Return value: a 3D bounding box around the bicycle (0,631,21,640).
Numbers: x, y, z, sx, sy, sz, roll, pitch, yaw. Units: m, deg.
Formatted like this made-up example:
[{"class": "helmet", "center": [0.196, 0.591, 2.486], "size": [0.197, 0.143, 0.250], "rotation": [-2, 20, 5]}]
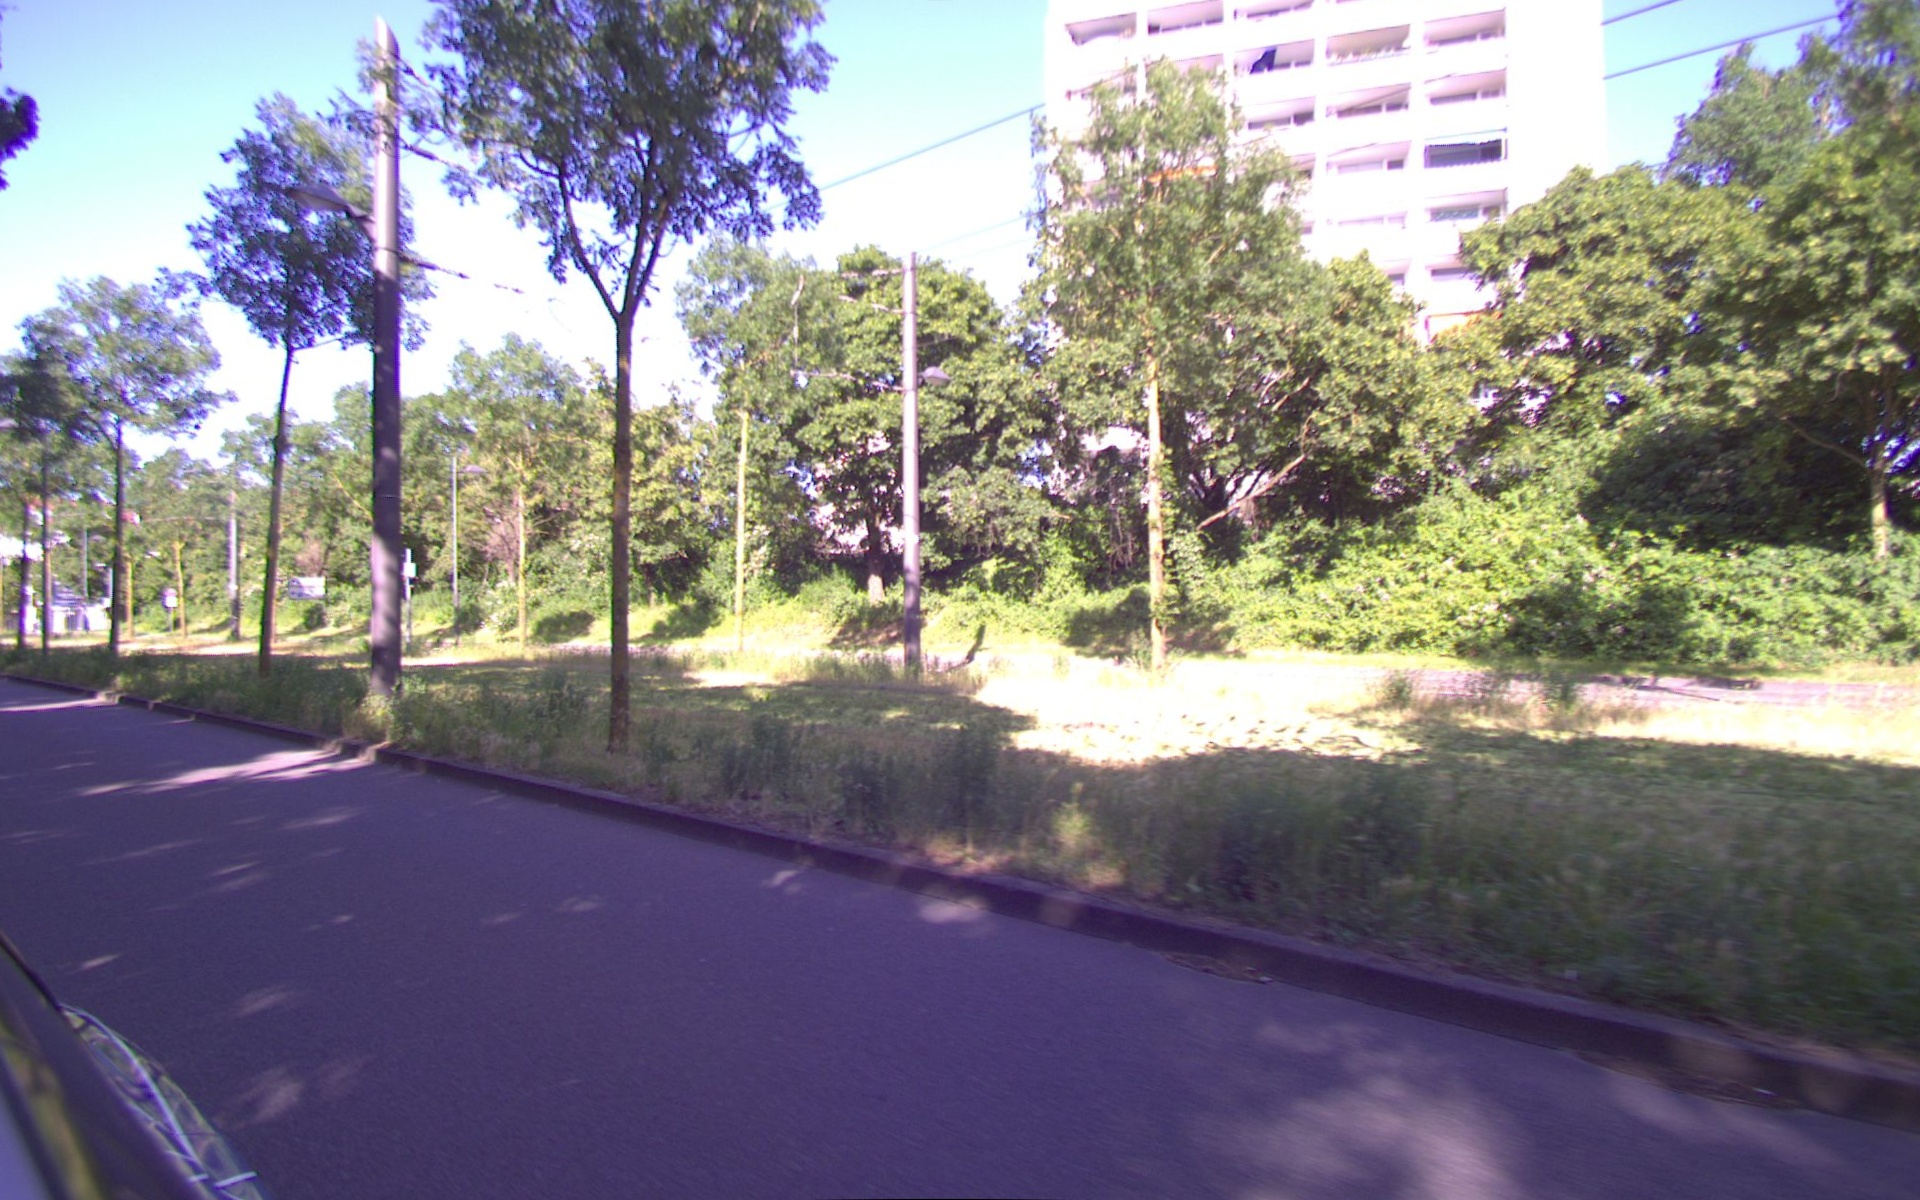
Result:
[{"class": "bicycle", "center": [-123.975, 4.627, 131.672], "size": [0.714, 1.222, 2.534], "rotation": [-1, -2, 21]}]
